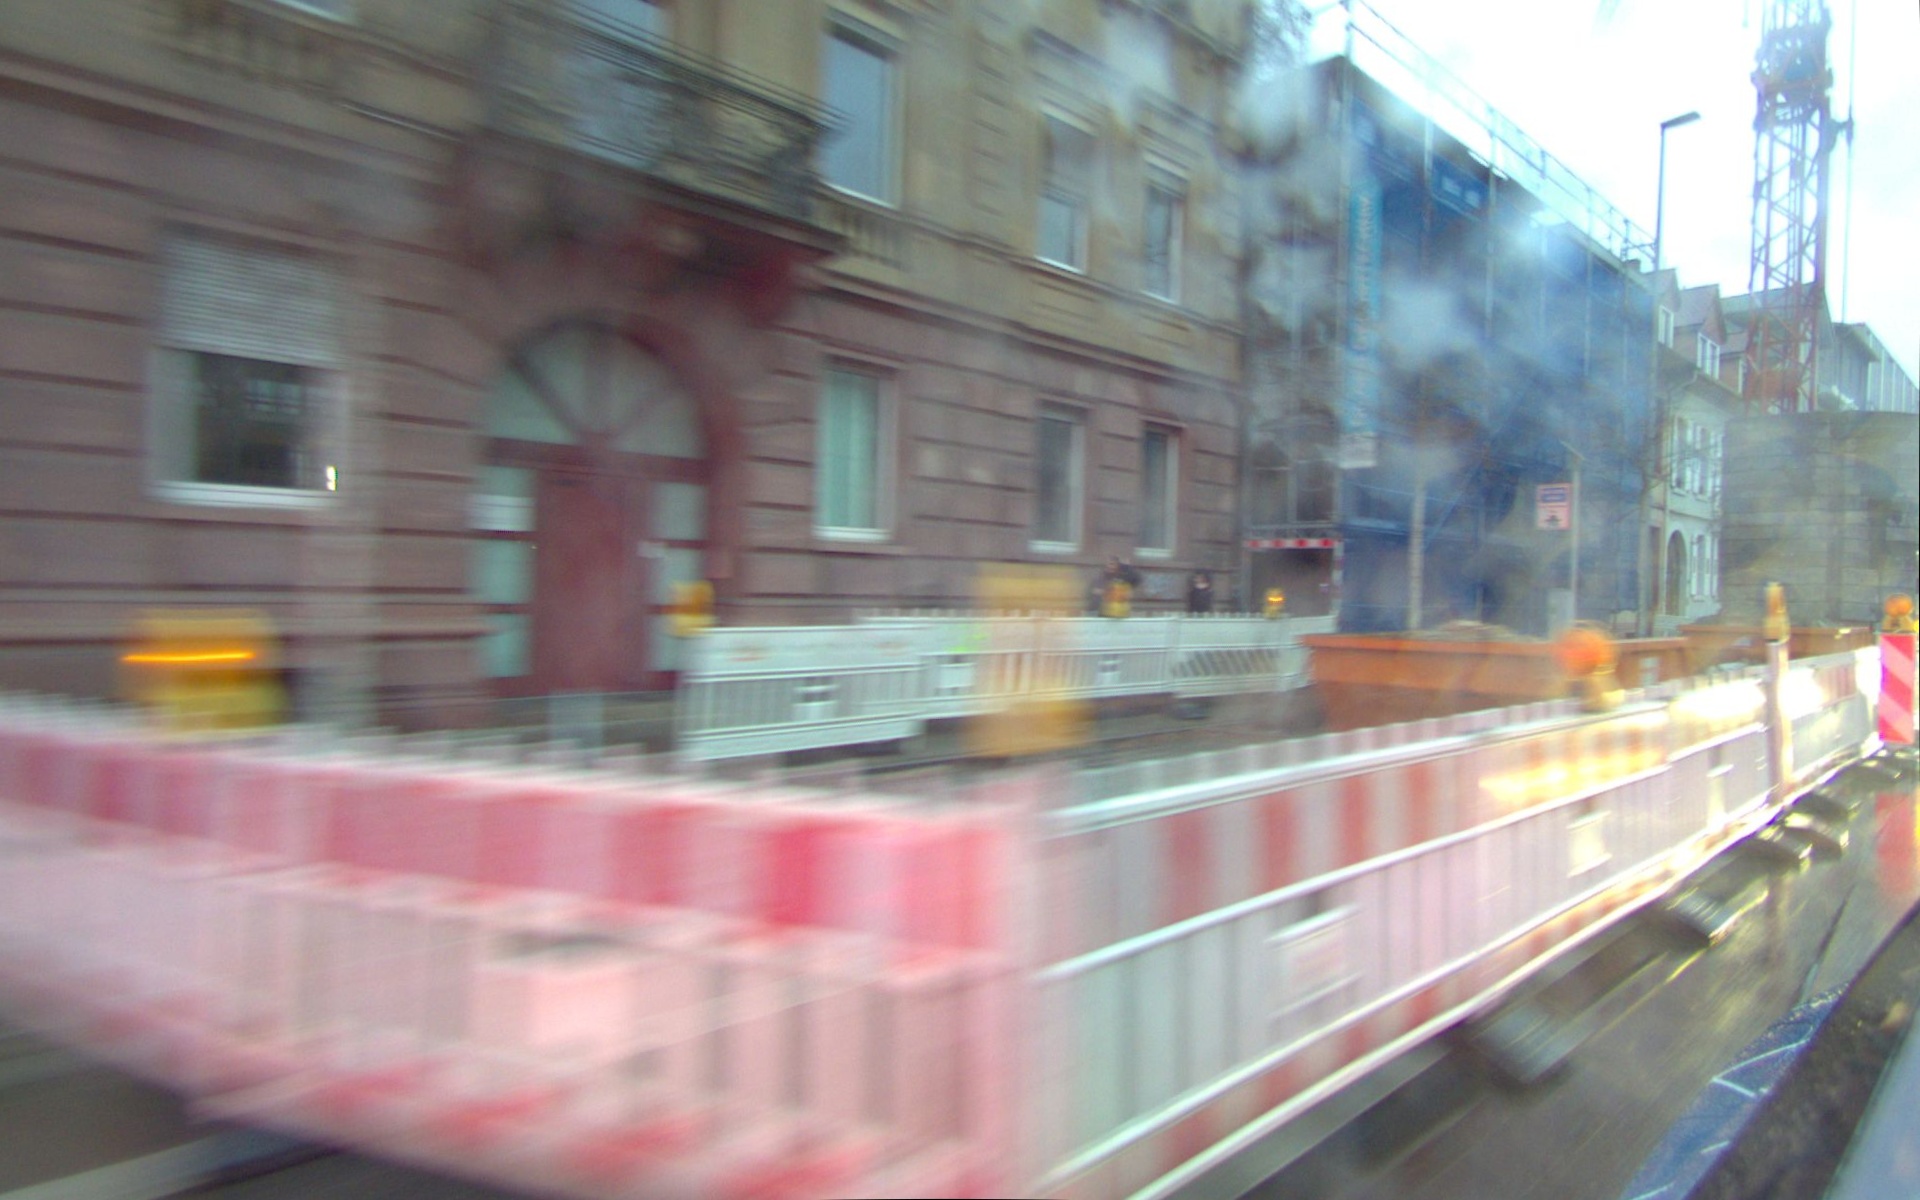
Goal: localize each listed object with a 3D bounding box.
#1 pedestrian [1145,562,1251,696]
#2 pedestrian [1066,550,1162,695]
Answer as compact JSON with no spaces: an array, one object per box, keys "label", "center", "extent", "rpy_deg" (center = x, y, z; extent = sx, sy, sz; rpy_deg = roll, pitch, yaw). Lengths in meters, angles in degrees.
[{"label":"pedestrian","center":[2.966,0.335,12.618],"extent":[0.913,1.564,0.870],"rpy_deg":[1,2,-41]},{"label":"pedestrian","center":[1.876,0.249,12.385],"extent":[0.694,1.693,0.870],"rpy_deg":[1,2,-41]}]
